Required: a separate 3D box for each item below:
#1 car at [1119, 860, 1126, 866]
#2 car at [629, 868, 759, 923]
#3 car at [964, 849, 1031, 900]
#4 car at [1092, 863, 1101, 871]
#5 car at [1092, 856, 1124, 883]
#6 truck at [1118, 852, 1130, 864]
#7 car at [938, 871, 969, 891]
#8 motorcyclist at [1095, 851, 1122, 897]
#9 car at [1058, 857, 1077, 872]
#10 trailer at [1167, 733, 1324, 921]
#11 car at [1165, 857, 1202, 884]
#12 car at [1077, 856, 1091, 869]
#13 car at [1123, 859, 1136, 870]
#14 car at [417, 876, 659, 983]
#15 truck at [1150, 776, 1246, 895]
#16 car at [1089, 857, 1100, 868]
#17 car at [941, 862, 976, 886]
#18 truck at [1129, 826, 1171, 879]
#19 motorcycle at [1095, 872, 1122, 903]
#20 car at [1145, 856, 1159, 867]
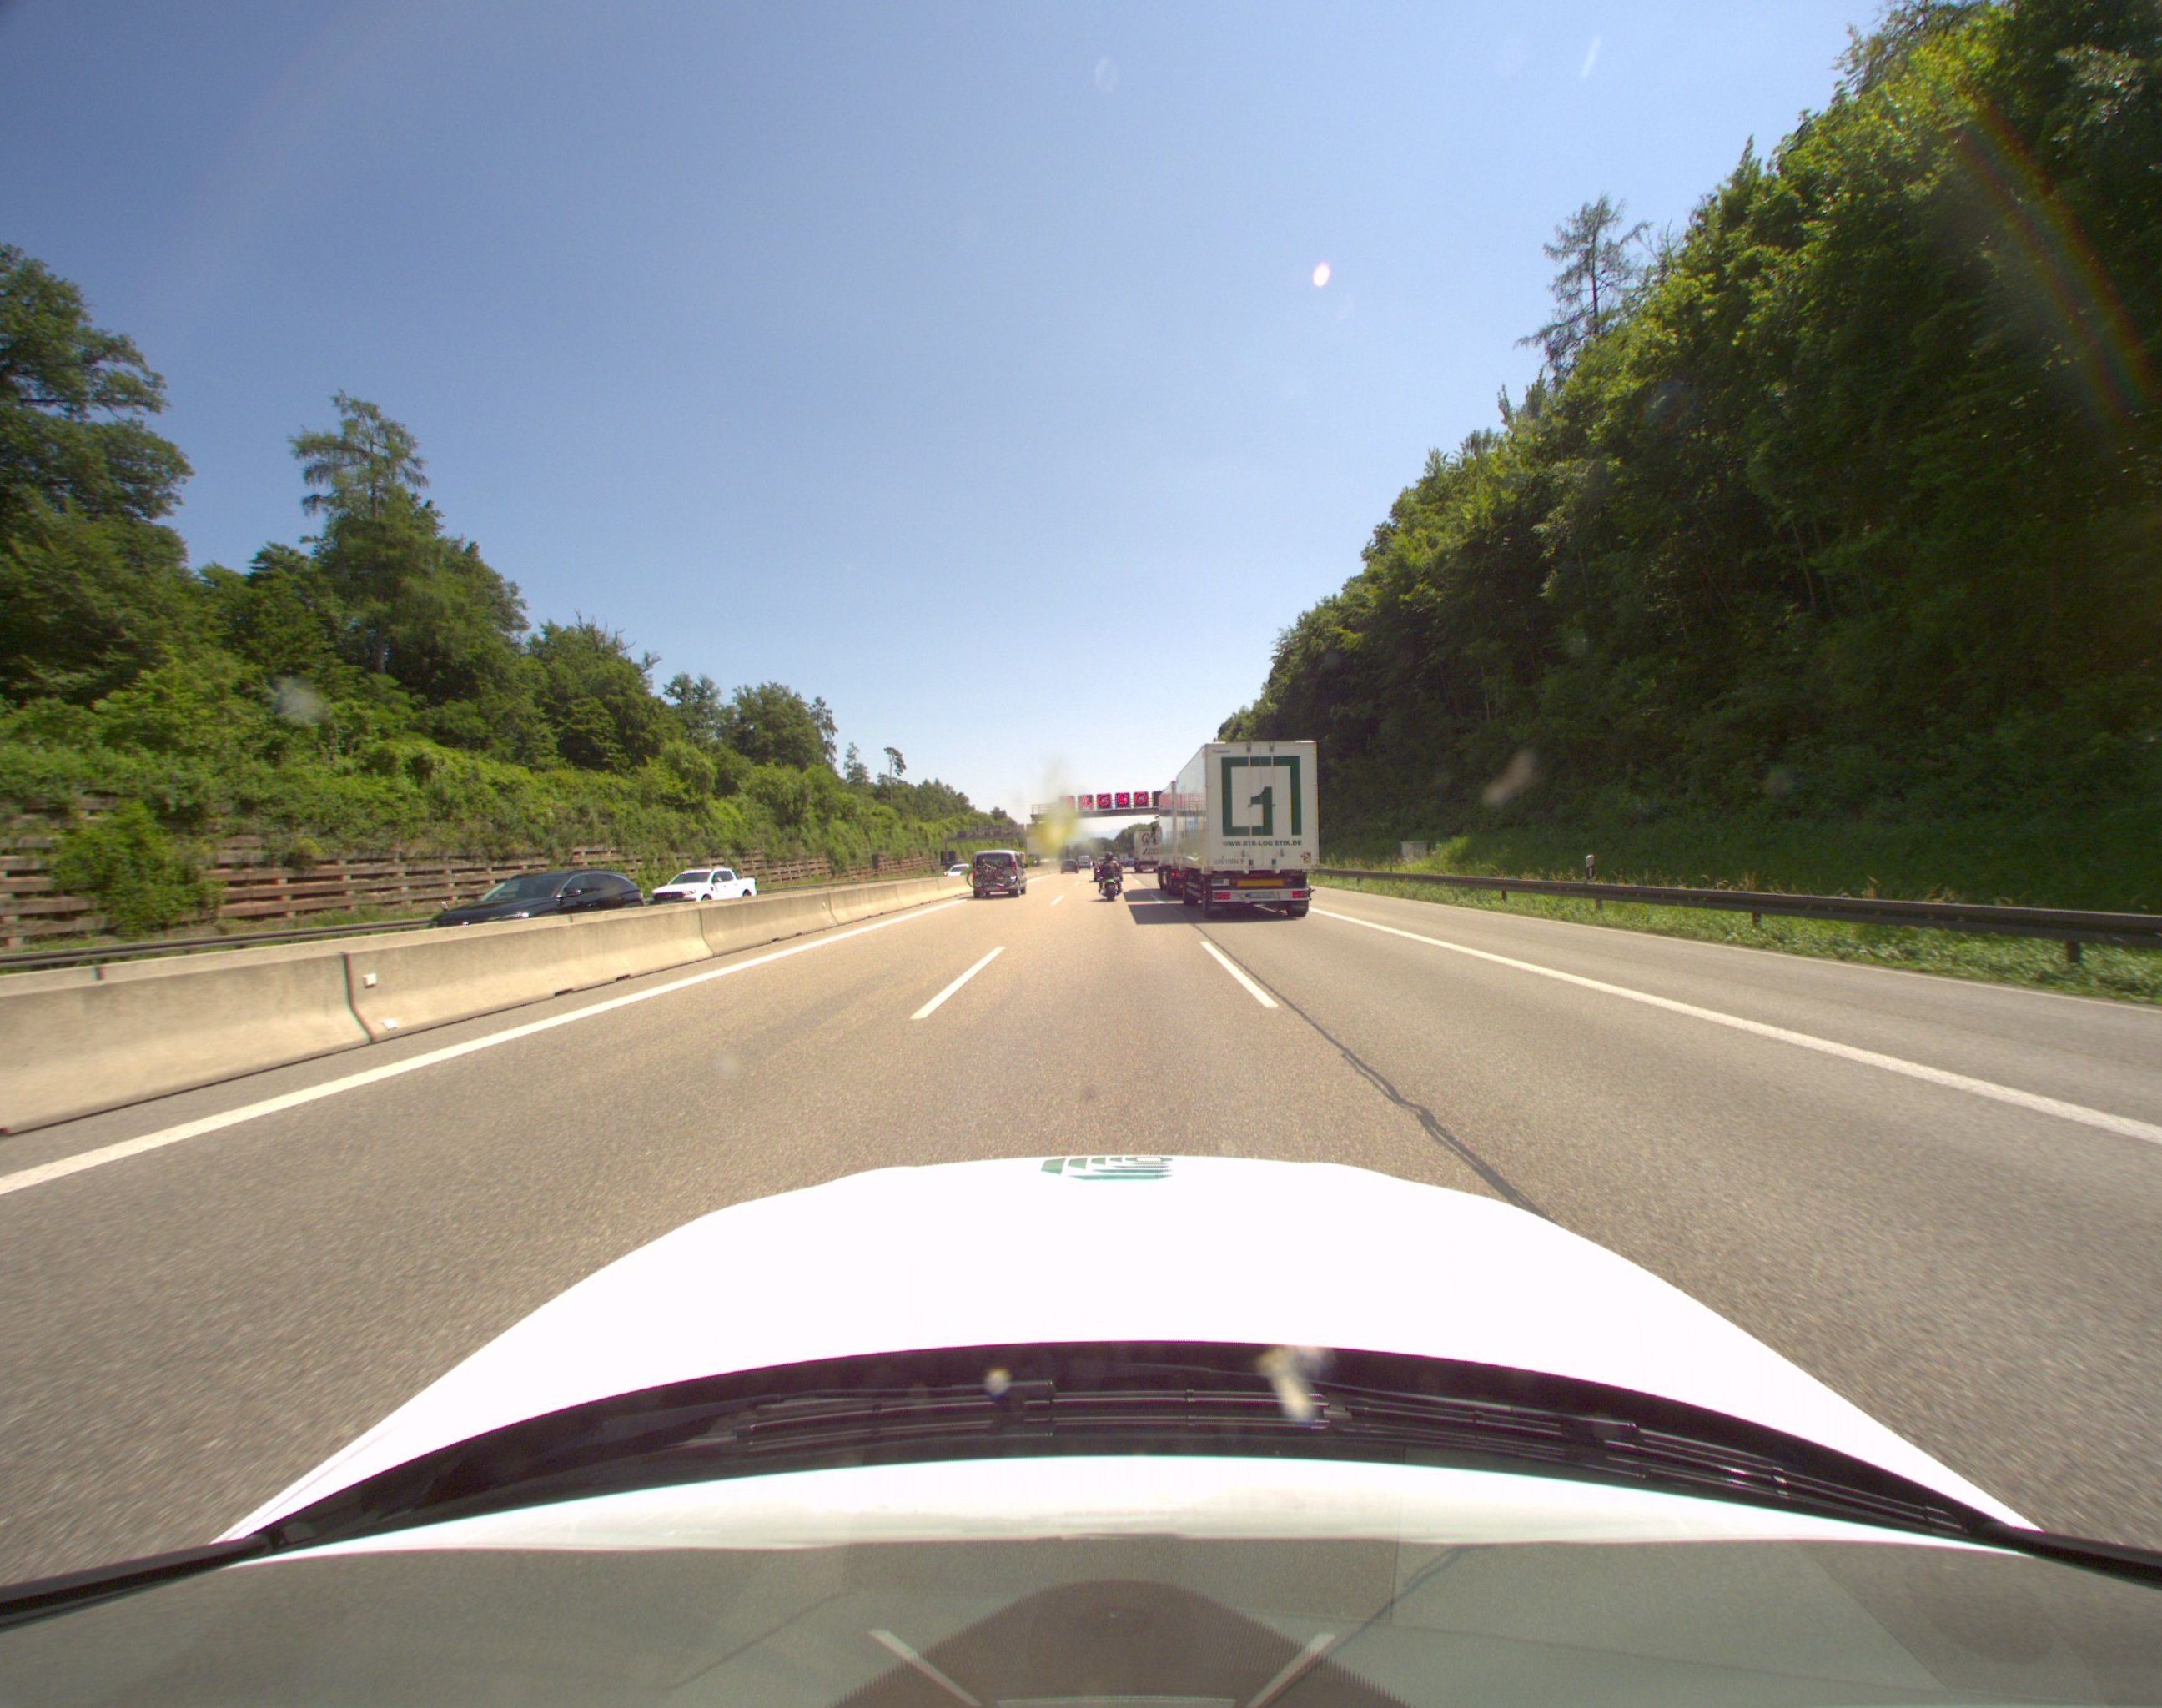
[{"bbox_3d":[10.616,2.373,207.670,1.824,1.527,4.028,-1,0,2],"label":"car"},{"bbox_3d":[-14.074,1.432,30.101,1.876,1.637,5.651,-3,0,2],"label":"car"},{"bbox_3d":[-3.227,0.793,32.582,1.891,1.848,5.484,-1,-1,2],"label":"car"},{"bbox_3d":[3.478,2.937,181.795,1.824,1.810,4.121,-1,0,2],"label":"car"},{"bbox_3d":[1.643,0.918,50.178,1.838,1.557,4.441,-1,0,2],"label":"car"},{"bbox_3d":[12.434,1.270,236.258,3.056,3.346,9.656,0,-1,2],"label":"truck"},{"bbox_3d":[-11.802,2.477,75.724,1.932,1.605,4.658,-3,0,2],"label":"car"},{"bbox_3d":[0.941,0.685,27.776,0.852,1.515,0.914,-2,-1,2],"label":"motorcyclist"},{"bbox_3d":[-1.350,1.063,85.630,1.751,1.544,4.396,-1,0,2],"label":"car"},{"bbox_3d":[4.217,-0.567,23.348,2.670,4.176,10.068,-1,-1,2],"label":"trailer"},{"bbox_3d":[6.261,1.004,50.335,1.838,1.557,4.394,-1,0,2],"label":"car"},{"bbox_3d":[0.466,1.151,117.186,1.824,1.810,4.121,-1,0,2],"label":"car"},{"bbox_3d":[7.507,1.593,125.206,1.824,1.527,4.028,-1,0,2],"label":"car"},{"bbox_3d":[-10.513,1.372,16.241,1.746,1.637,4.305,-3,0,2],"label":"car"},{"bbox_3d":[4.515,-0.604,33.656,2.670,4.059,10.628,-1,-1,2],"label":"truck"},{"bbox_3d":[2.380,1.512,138.815,1.824,1.810,4.121,-1,0,2],"label":"car"},{"bbox_3d":[-8.993,1.445,60.152,1.740,1.605,4.060,-3,0,2],"label":"car"},{"bbox_3d":[6.659,-0.055,81.290,3.370,4.718,17.715,0,-1,2],"label":"truck"},{"bbox_3d":[0.956,1.115,27.764,0.859,0.982,2.132,-2,-1,3],"label":"motorcycle"},{"bbox_3d":[10.200,1.119,117.084,1.824,1.527,4.028,-1,0,2],"label":"car"}]
